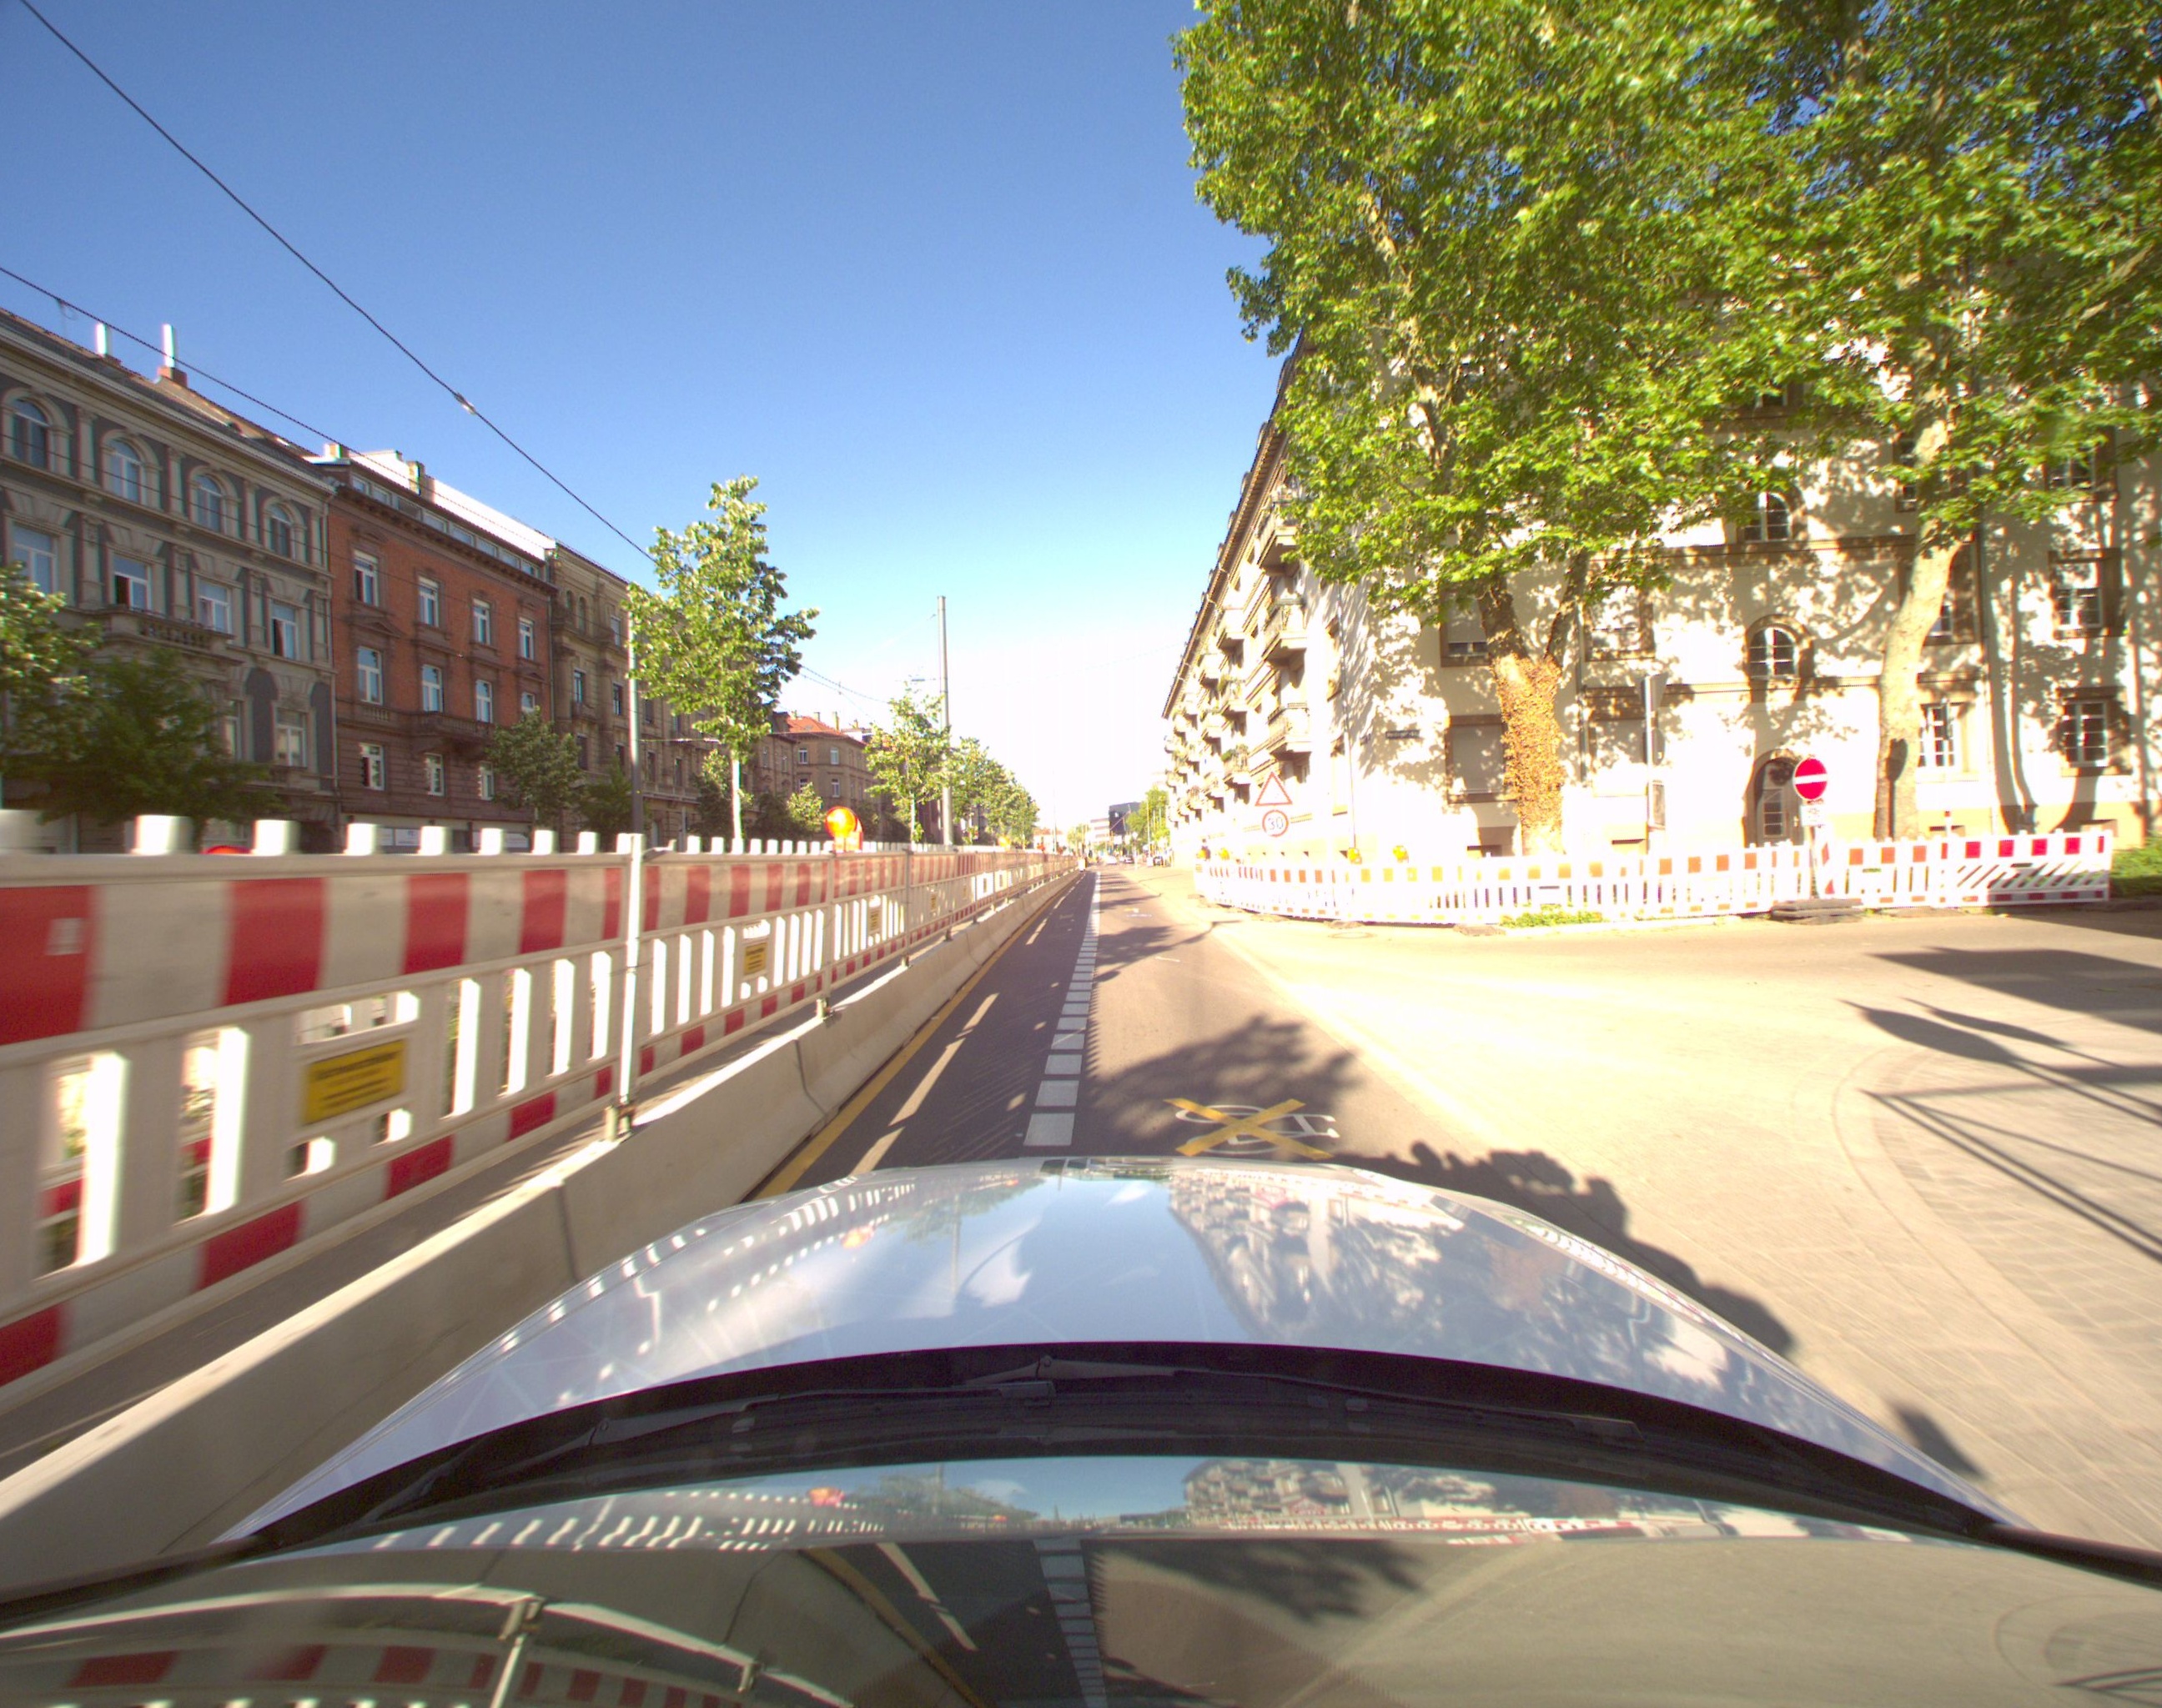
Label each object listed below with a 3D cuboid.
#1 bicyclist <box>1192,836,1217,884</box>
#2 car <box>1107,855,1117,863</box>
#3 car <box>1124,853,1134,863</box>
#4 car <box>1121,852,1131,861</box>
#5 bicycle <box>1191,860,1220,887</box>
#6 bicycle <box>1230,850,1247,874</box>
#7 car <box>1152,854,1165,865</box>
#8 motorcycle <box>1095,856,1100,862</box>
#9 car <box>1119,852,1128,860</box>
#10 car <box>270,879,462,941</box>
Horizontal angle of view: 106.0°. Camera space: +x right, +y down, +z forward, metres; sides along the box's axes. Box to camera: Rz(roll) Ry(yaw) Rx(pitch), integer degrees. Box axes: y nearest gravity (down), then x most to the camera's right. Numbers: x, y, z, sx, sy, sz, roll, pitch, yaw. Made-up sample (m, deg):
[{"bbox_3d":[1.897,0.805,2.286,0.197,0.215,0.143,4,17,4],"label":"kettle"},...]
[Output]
[{"bbox_3d":[4.678,0.215,30.817,0.730,1.763,0.938,-2,-1,1],"label":"bicyclist"},{"bbox_3d":[5.775,0.913,151.030,1.774,1.414,4.820,0,0,2],"label":"car"},{"bbox_3d":[9.285,0.765,157.426,1.967,1.759,4.635,0,0,2],"label":"car"},{"bbox_3d":[9.195,0.545,165.042,1.844,1.640,4.379,-1,-1,1],"label":"car"},{"bbox_3d":[4.694,0.708,30.762,0.764,0.953,2.198,-2,0,1],"label":"bicycle"},{"bbox_3d":[7.477,0.382,38.796,0.416,1.095,2.199,-2,0,2],"label":"bicycle"},{"bbox_3d":[12.201,0.916,128.119,1.711,1.637,4.241,-3,-1,8],"label":"car"},{"bbox_3d":[3.538,1.143,177.451,1.015,1.312,2.916,0,0,2],"label":"motorcycle"},{"bbox_3d":[9.395,0.444,181.923,1.844,1.497,4.380,-2,0,2],"label":"car"},{"bbox_3d":[-22.406,1.681,25.822,1.930,1.658,4.548,0,0,3],"label":"car"}]
